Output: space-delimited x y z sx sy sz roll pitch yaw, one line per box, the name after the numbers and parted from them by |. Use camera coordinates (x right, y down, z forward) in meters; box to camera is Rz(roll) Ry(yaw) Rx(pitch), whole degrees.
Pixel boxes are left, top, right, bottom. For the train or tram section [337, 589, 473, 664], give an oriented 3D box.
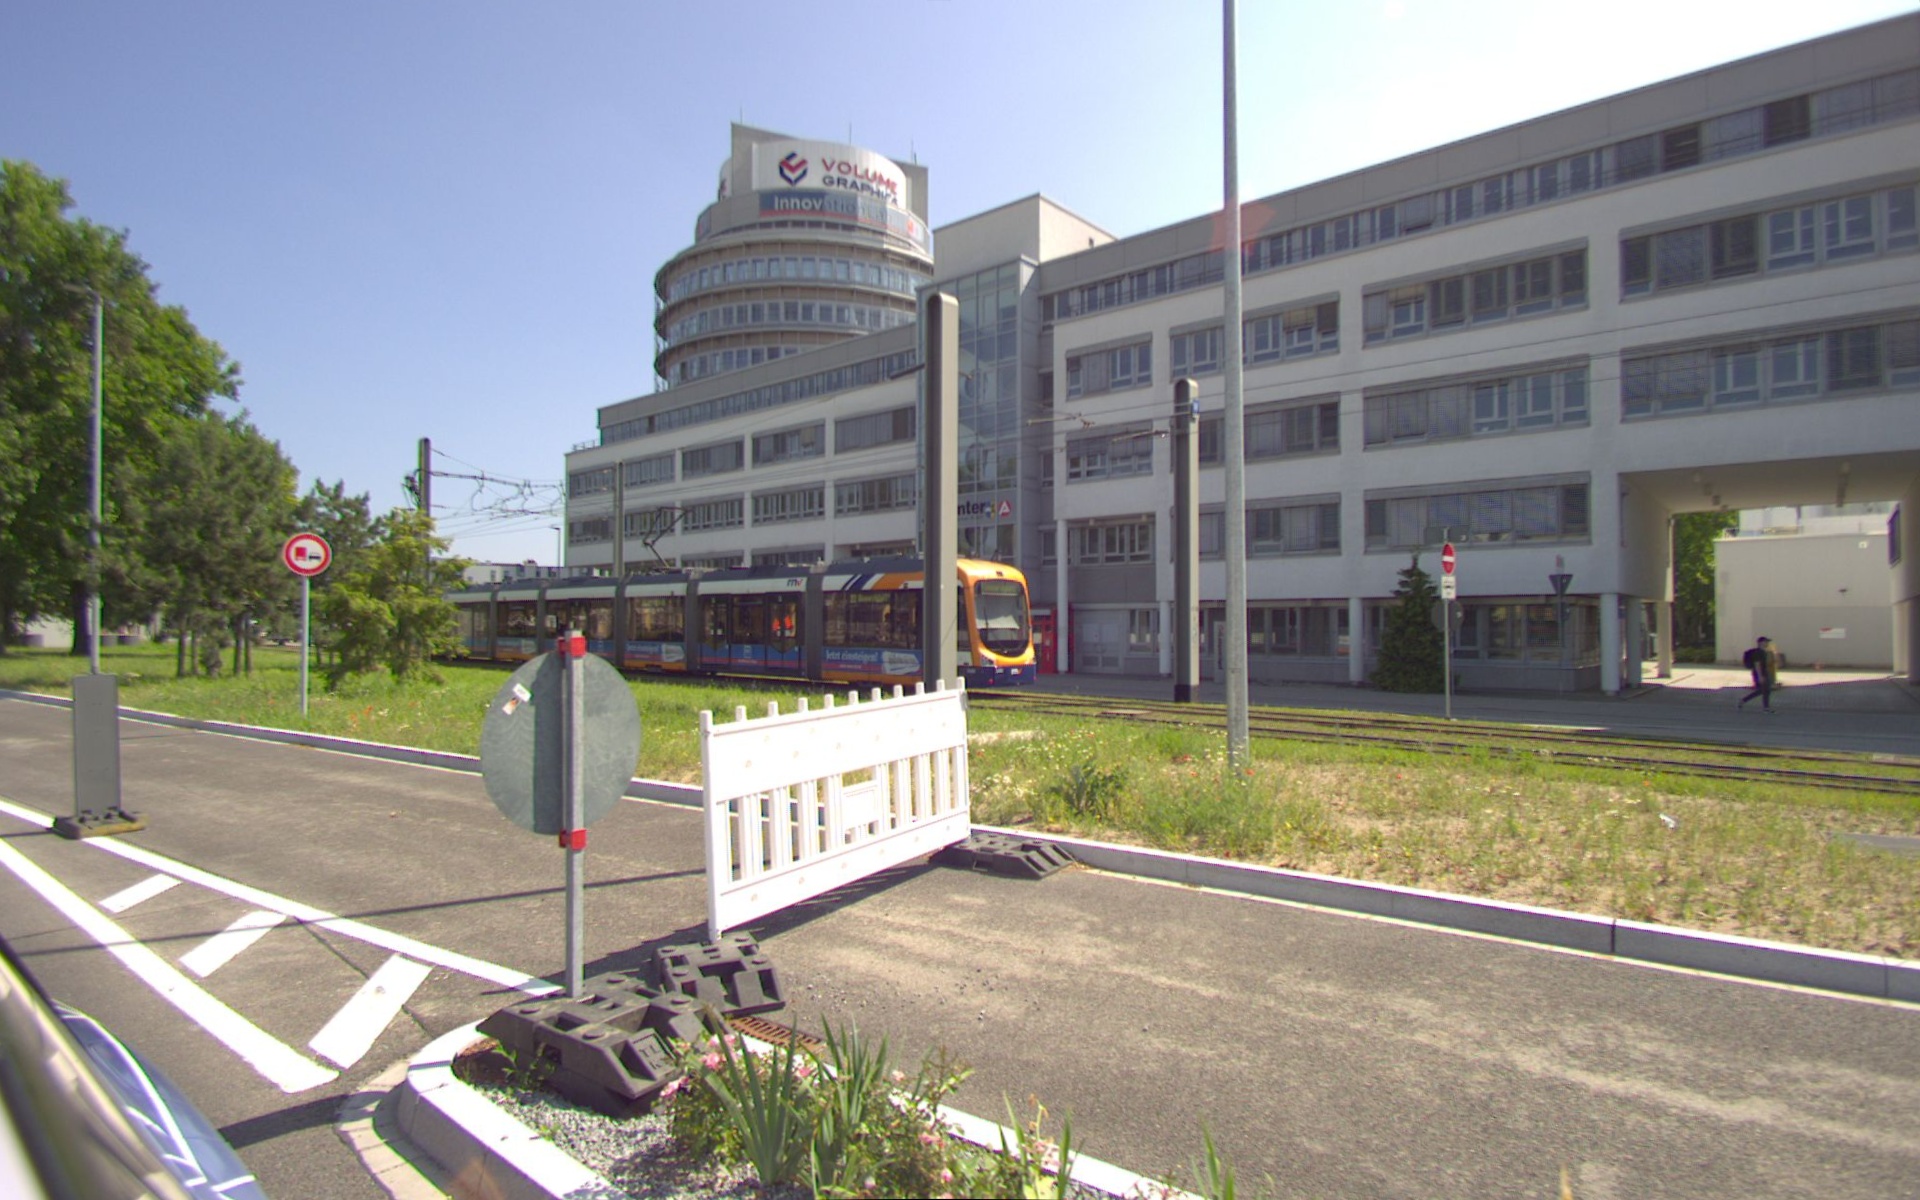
-28.639 1.298 51.862 11.782 3.477 2.596 -1 0 43 | train or tram section

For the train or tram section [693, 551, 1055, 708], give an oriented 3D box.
-2.905 0.726 27.540 11.782 3.477 2.596 -1 0 43 | train or tram section

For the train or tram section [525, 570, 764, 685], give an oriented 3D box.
-11.487 0.913 35.660 11.782 3.477 2.596 -1 0 43 | train or tram section

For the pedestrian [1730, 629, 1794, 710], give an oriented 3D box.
19.069 1.630 24.076 1.108 1.840 0.757 -3 0 41 | pedestrian

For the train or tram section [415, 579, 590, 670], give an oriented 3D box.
-20.055 1.022 43.751 11.782 3.477 2.596 -1 0 43 | train or tram section
